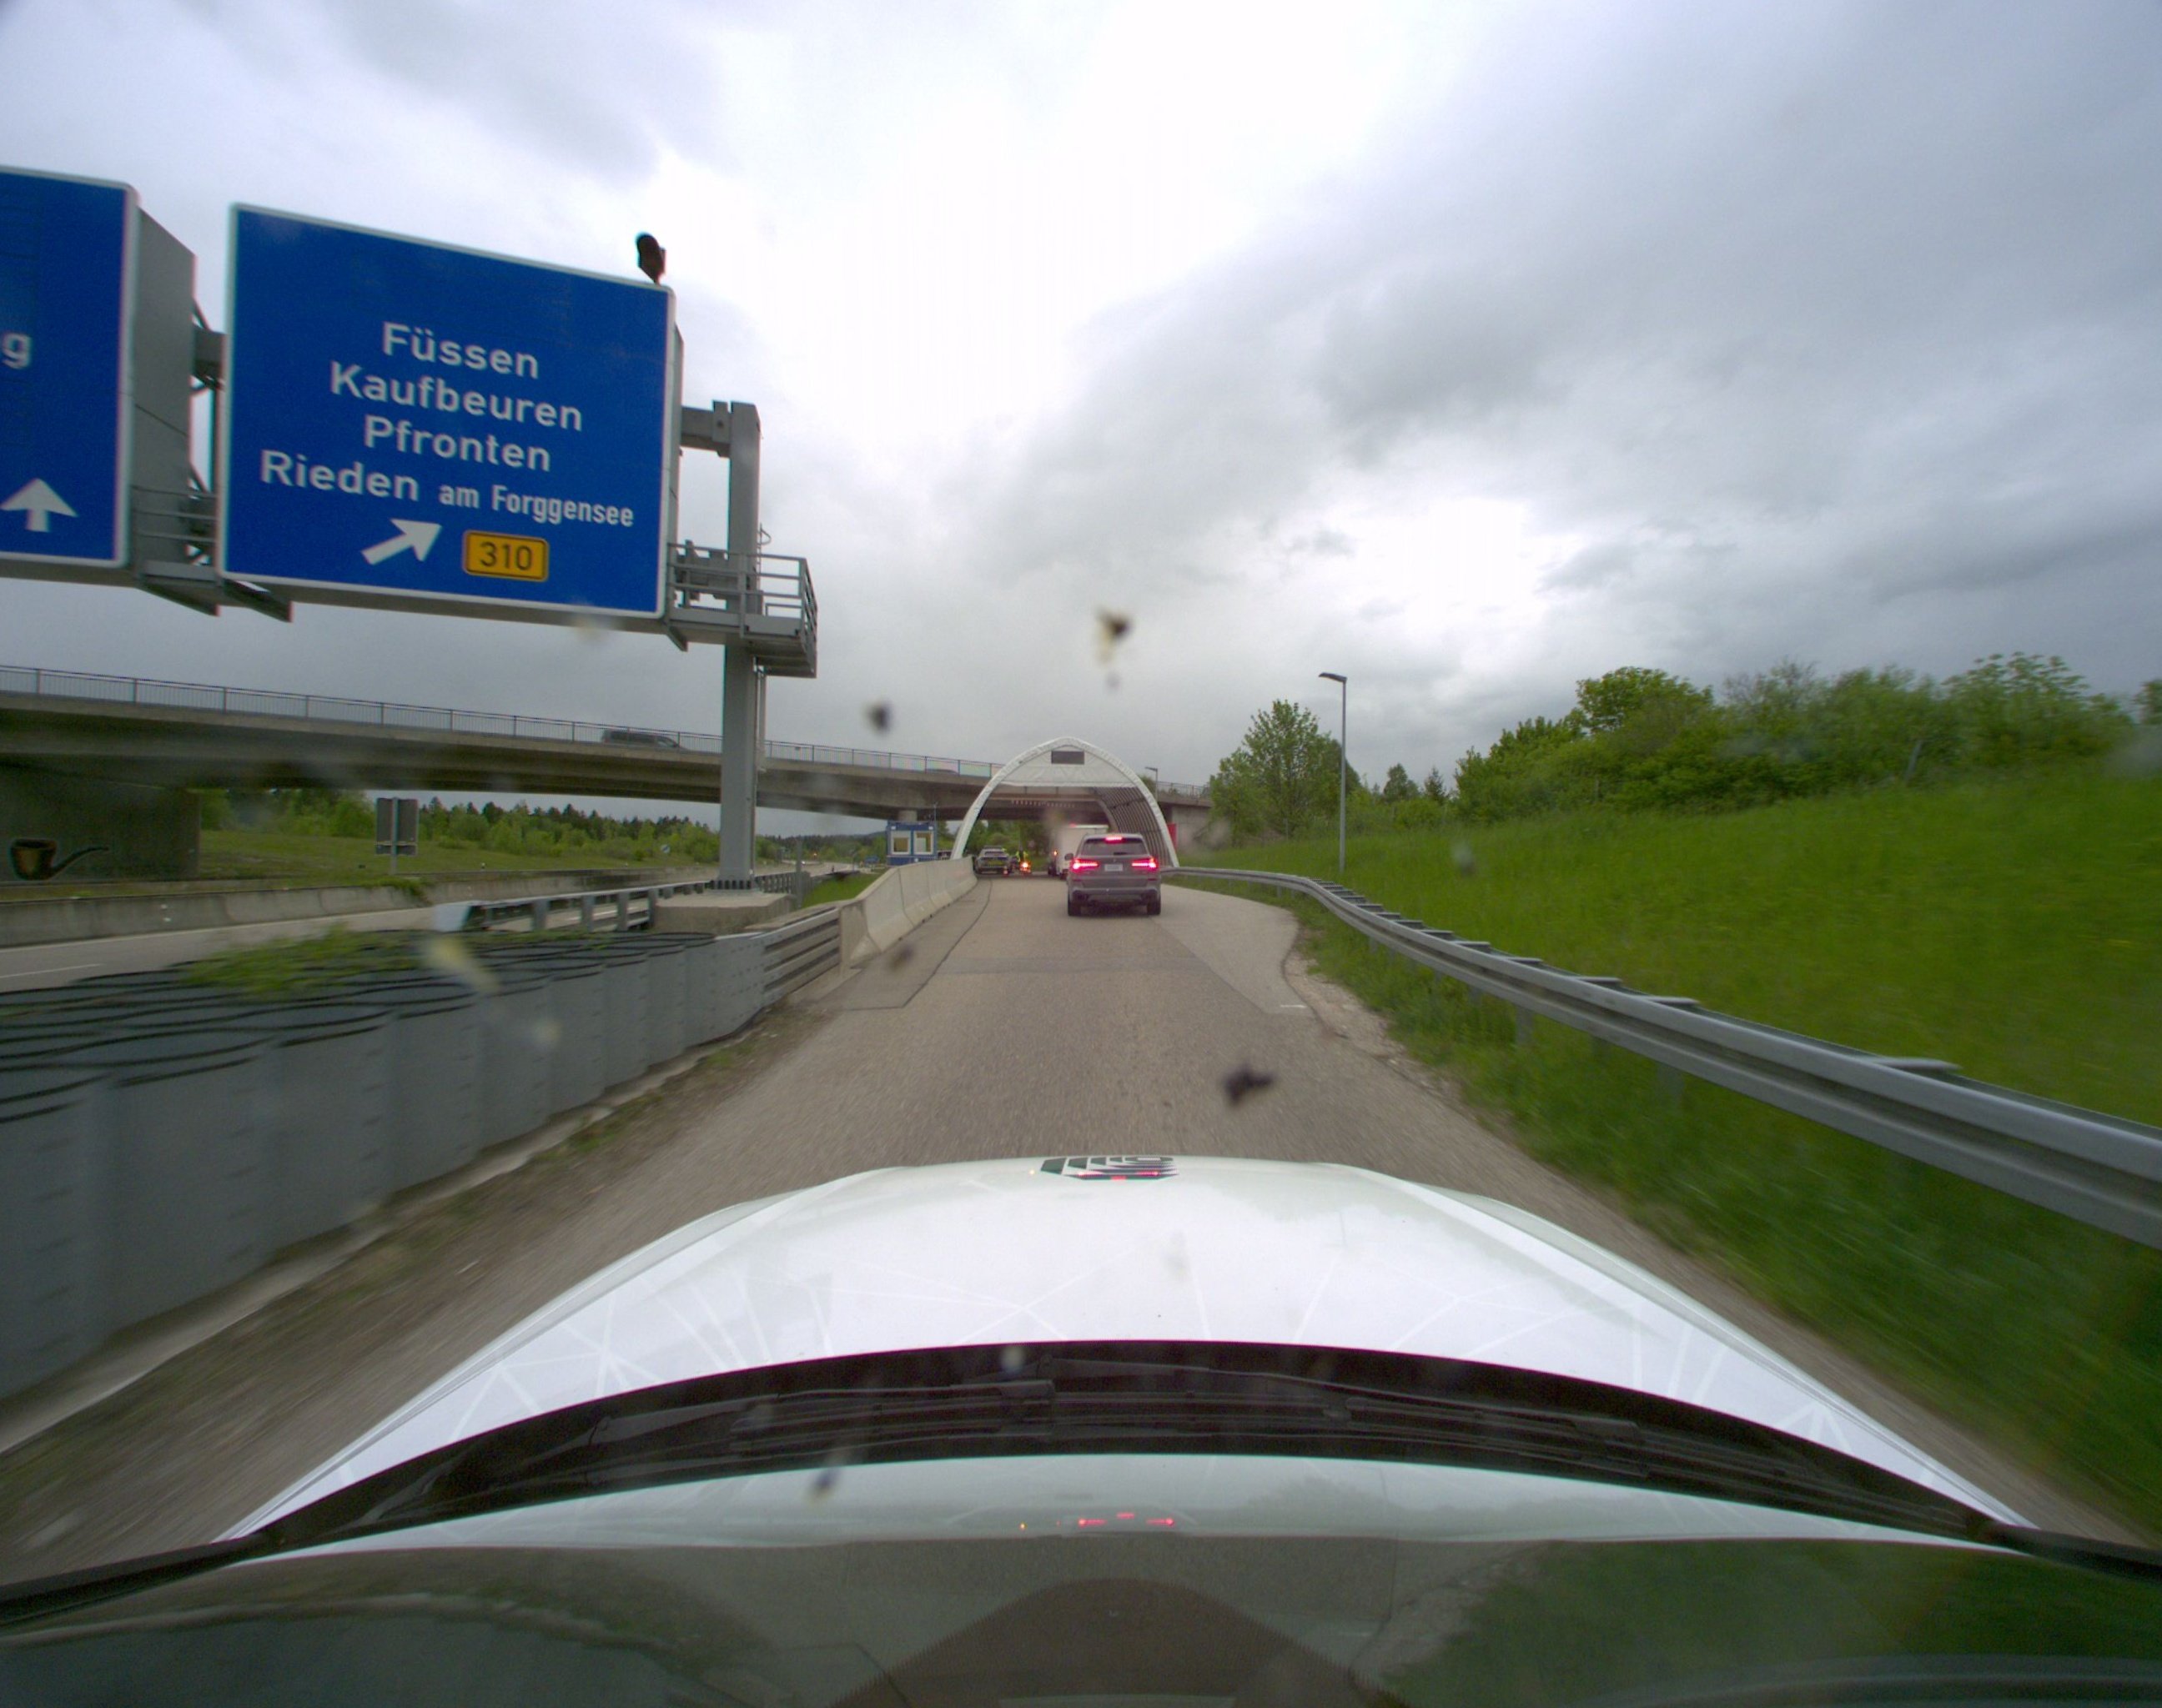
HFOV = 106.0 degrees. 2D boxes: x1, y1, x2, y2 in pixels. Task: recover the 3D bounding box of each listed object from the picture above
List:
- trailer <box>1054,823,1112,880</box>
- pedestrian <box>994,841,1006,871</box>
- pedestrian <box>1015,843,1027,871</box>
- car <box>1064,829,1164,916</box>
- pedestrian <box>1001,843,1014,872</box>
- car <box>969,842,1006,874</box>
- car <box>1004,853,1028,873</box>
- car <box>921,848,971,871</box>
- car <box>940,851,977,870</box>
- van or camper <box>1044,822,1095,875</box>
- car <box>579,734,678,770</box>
[{"bbox_3d":[-0.007,-0.059,38.831,2.274,2.430,6.807,-1,-1,-4],"label":"trailer"},{"bbox_3d":[-5.211,0.139,52.549,0.720,1.945,0.688,-1,0,-9],"label":"pedestrian"},{"bbox_3d":[-3.886,0.190,52.869,0.648,1.775,0.603,-1,0,-11],"label":"pedestrian"},{"bbox_3d":[0.735,0.384,18.344,1.986,1.719,4.002,-1,0,2],"label":"car"},{"bbox_3d":[-4.658,0.208,51.537,0.720,1.775,0.688,-1,0,-9],"label":"pedestrian"},{"bbox_3d":[-5.685,0.237,49.045,1.993,1.772,3.753,-1,0,-9],"label":"car"},{"bbox_3d":[-6.514,0.883,81.402,1.706,1.854,3.980,-1,0,-14],"label":"car"},{"bbox_3d":[-11.867,0.473,71.805,3.966,1.854,1.712,-1,0,6],"label":"car"},{"bbox_3d":[-9.663,0.533,64.159,1.526,1.442,3.280,-1,0,-35],"label":"car"},{"bbox_3d":[-0.741,-0.250,45.176,2.155,2.763,5.856,-1,-1,-7],"label":"van or camper"},{"bbox_3d":[-27.116,-6.089,48.856,4.961,1.648,1.978,-1,0,-36],"label":"car"}]
